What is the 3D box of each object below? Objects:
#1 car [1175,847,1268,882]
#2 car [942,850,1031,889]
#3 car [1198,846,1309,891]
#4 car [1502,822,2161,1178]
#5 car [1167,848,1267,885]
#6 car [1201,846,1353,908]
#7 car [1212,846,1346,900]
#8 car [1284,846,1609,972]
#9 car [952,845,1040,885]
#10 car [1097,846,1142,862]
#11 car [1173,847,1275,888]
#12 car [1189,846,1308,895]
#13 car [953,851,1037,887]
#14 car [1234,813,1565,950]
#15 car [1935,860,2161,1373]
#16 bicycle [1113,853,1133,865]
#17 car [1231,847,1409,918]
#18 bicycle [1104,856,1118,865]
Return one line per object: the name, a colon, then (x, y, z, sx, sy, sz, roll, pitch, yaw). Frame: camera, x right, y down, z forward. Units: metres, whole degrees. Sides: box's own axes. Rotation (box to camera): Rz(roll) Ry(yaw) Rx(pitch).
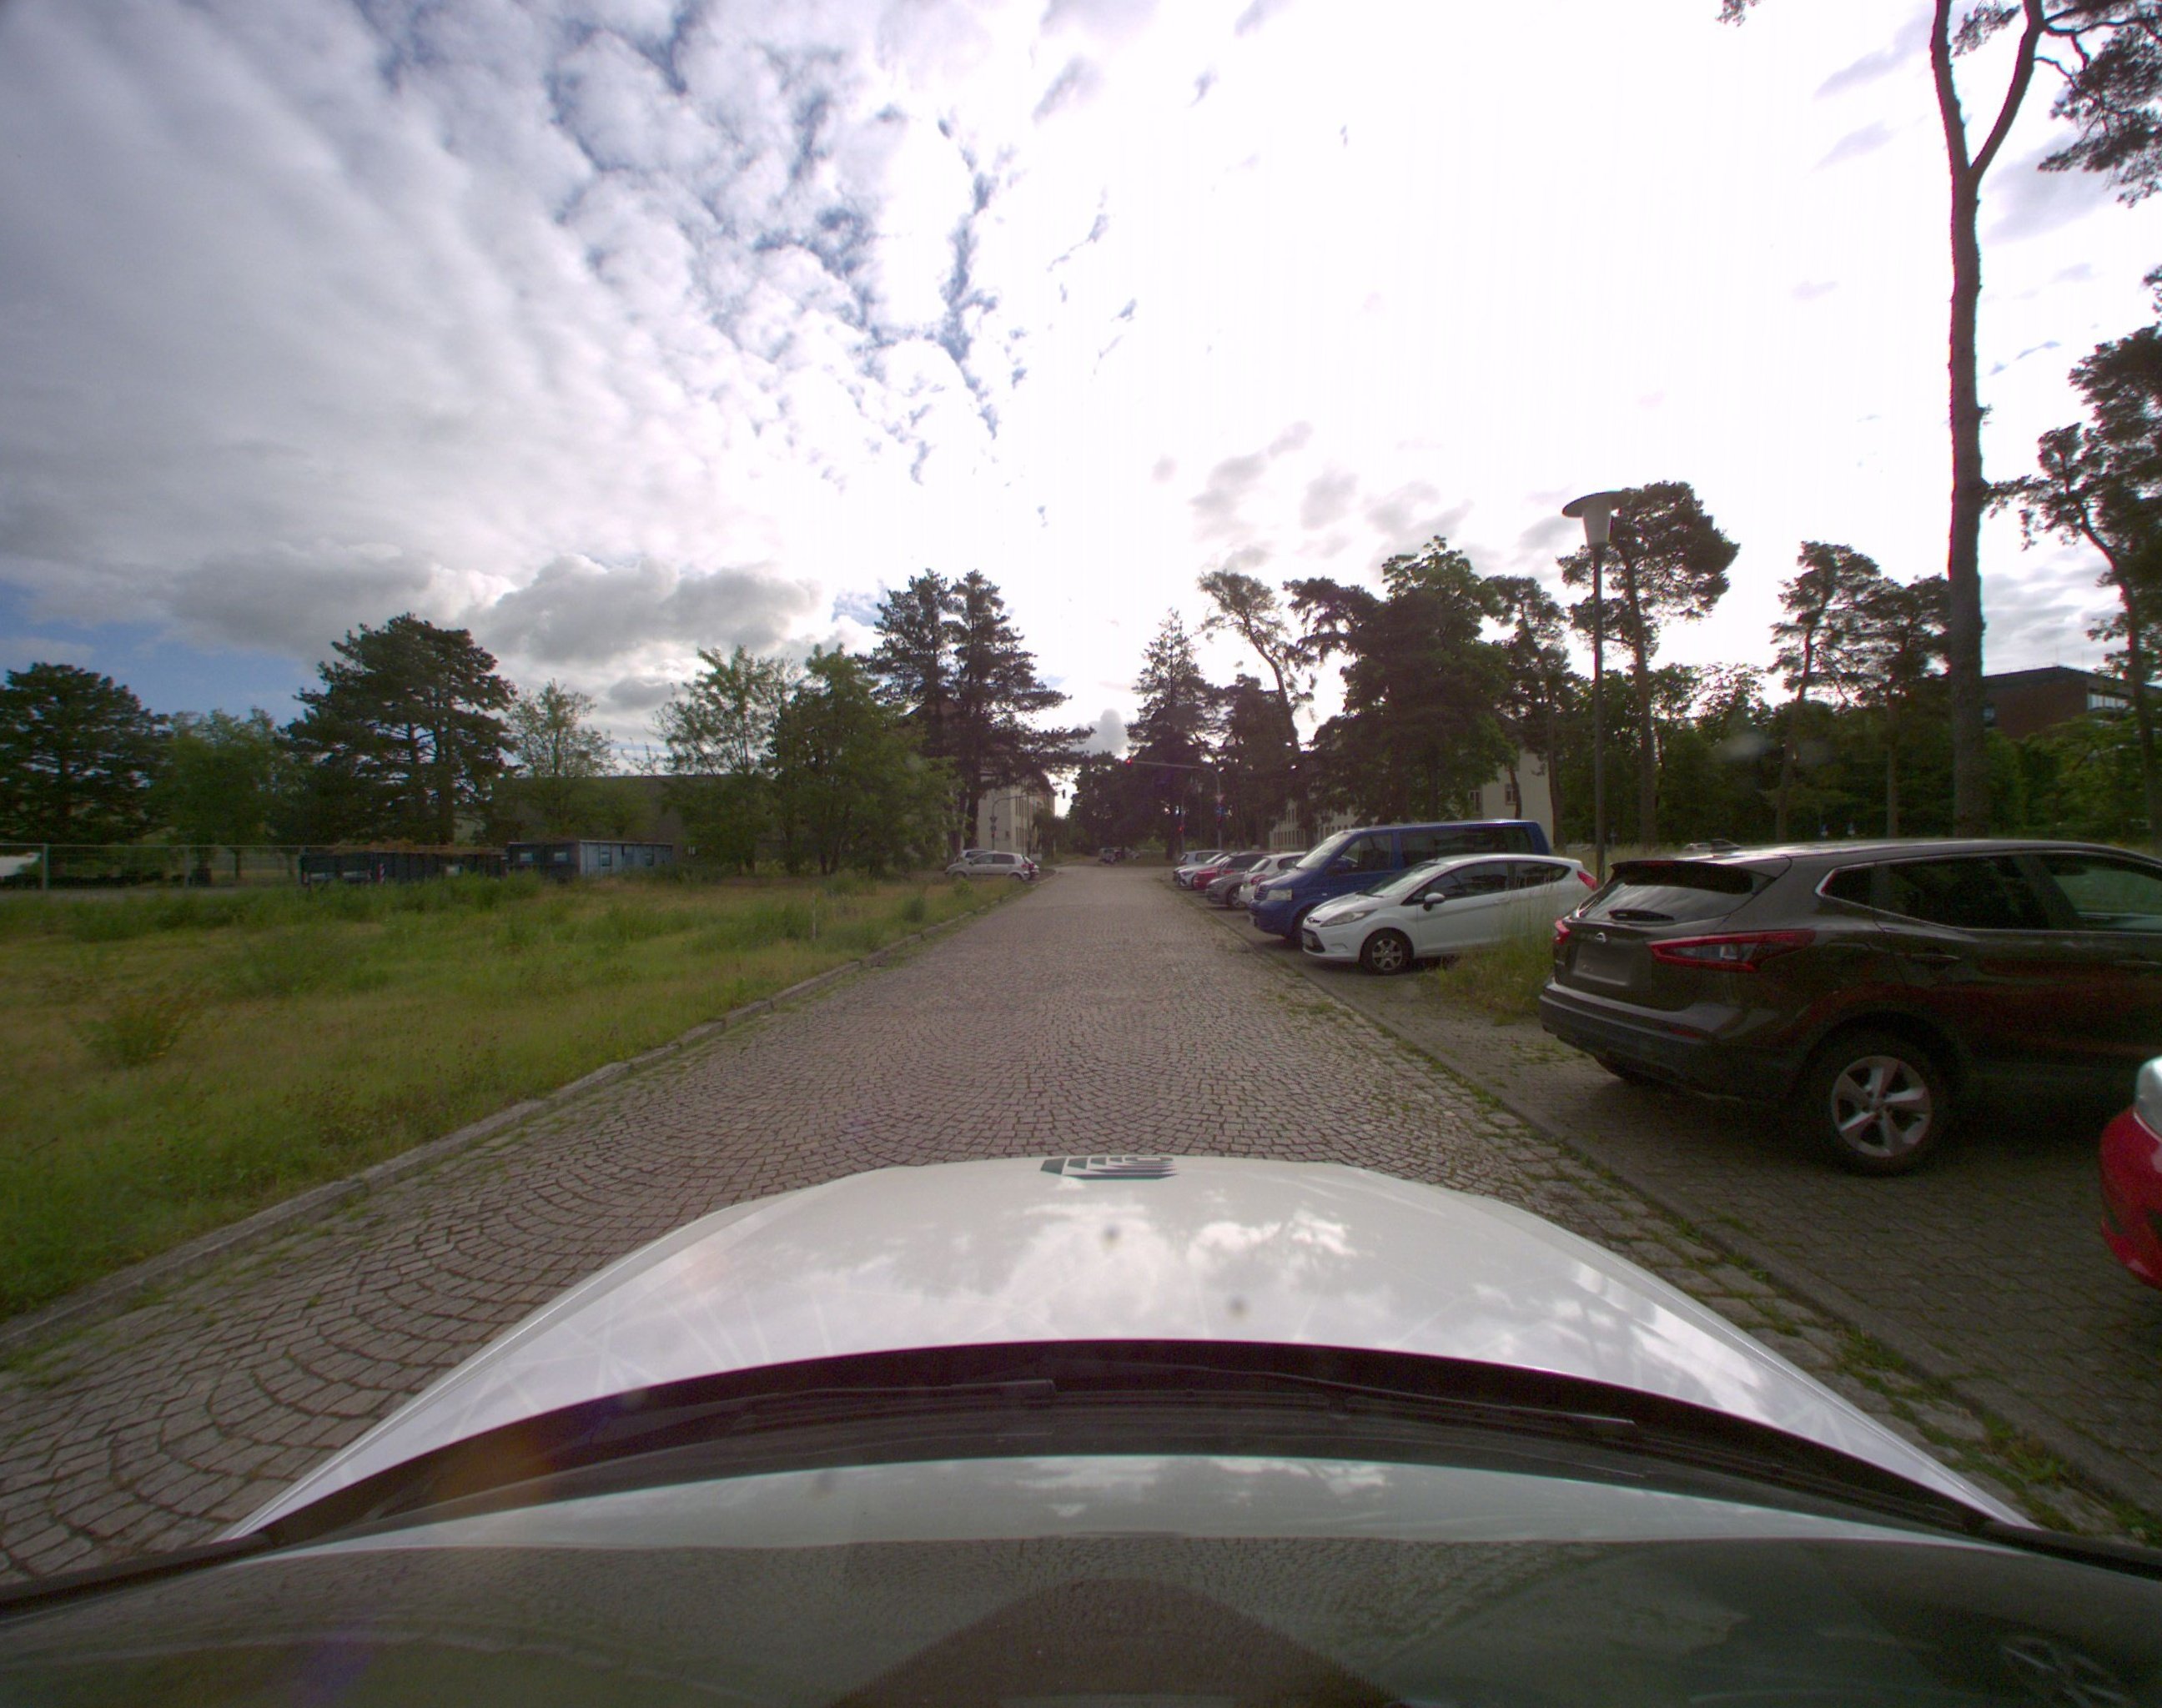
car: (6.422, 0.483, 37.424, 3.958, 1.421, 1.618, -2, 0, -3)
car: (-4.208, 0.689, 36.613, 3.811, 1.572, 1.563, -2, 0, -2)
car: (6.233, 0.524, 29.665, 3.660, 1.449, 1.523, -2, 0, 0)
car: (4.886, 0.645, 4.672, 4.016, 1.552, 1.750, -2, 0, -1)
car: (5.760, 0.519, 34.788, 3.958, 1.421, 1.618, -2, 0, -3)
car: (5.145, 0.597, 21.706, 3.660, 1.449, 1.523, -2, 0, 0)
car: (5.948, 0.560, 24.677, 3.660, 1.449, 1.523, -2, 0, 0)
car: (4.811, 0.693, 11.056, 3.661, 1.449, 1.614, -2, 0, -1)
car: (-4.326, 0.551, 42.024, 4.247, 1.840, 1.744, -2, 0, 1)
car: (4.874, 0.053, 104.351, 5.441, 2.013, 2.263, 0, 0, -8)
car: (5.573, 0.526, 31.935, 3.663, 1.421, 1.522, -2, 0, -3)
car: (5.566, 0.536, 27.394, 3.660, 1.449, 1.523, -2, 0, 0)
car: (-4.080, 0.718, 39.028, 3.808, 1.572, 1.565, -2, 0, 1)
car: (5.142, 0.428, 13.643, 4.739, 1.954, 1.931, -2, 0, 0)
car: (4.994, 0.711, 2.050, 3.778, 1.460, 1.752, -2, 0, 1)
bicycle: (4.474, 0.527, 86.437, 2.131, 1.214, 0.621, 0, 0, -3)
car: (5.469, 0.633, 18.917, 3.660, 1.449, 1.523, -2, 0, 0)
bicycle: (3.030, 0.641, 82.400, 0.623, 0.945, 1.649, 0, 0, -26)
